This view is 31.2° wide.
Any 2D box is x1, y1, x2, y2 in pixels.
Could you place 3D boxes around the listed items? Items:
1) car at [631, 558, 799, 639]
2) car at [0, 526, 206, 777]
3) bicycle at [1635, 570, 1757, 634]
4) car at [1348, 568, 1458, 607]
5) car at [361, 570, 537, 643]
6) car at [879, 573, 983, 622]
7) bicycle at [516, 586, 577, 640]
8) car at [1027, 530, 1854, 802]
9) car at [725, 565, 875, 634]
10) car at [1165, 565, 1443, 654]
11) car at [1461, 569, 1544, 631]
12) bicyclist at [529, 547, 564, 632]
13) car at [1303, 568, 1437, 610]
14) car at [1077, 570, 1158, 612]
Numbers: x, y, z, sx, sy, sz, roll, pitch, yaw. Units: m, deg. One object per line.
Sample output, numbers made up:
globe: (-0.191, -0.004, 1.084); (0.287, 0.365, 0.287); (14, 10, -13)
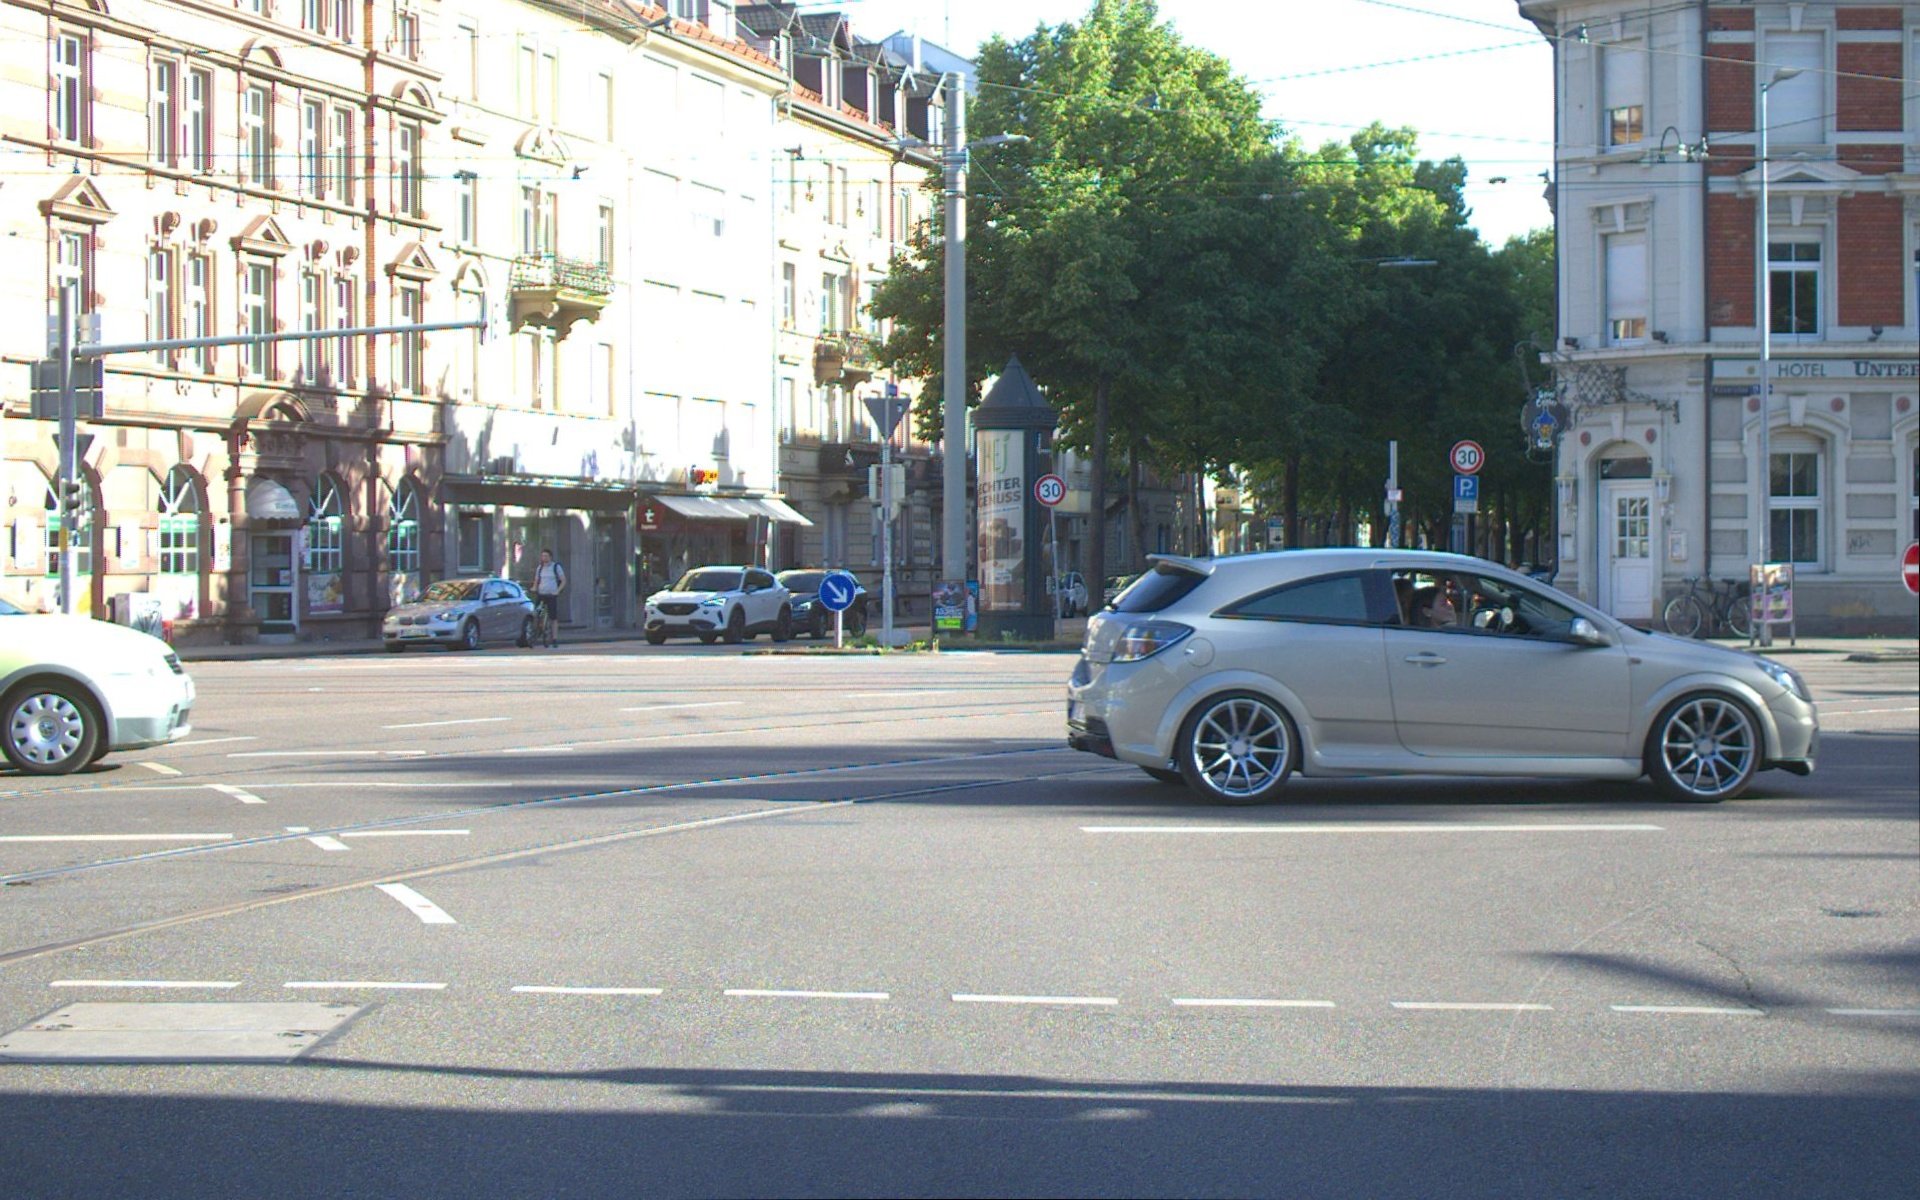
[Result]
car: (-4.761, -0.049, 67.435); (1.995, 1.511, 4.166); (0, 1, 16)
car: (-6.747, 0.296, 21.193); (3.954, 1.493, 1.742); (0, 1, -7)
bicycle: (12.271, 0.028, 57.346); (1.953, 1.050, 0.715); (0, 1, 10)
car: (14.364, -0.424, 111.470); (3.435, 1.235, 1.576); (0, 1, 11)
car: (-9.926, 0.105, 67.048); (1.995, 1.357, 3.816); (0, 1, 16)
car: (-0.842, -0.087, 102.094); (1.995, 1.400, 4.166); (0, 1, 16)
bicycle: (-7.846, 0.235, 65.304); (0.655, 0.997, 1.664); (1, 1, 12)
car: (2.619, 0.354, 19.263); (4.267, 1.436, 1.742); (0, 0, -7)
car: (-3.397, -0.037, 73.648); (1.995, 1.400, 4.166); (0, 1, 16)
car: (5.292, 0.119, 53.143); (4.070, 1.296, 1.718); (1, 1, 43)
car: (13.049, -0.021, 82.533); (1.756, 1.415, 3.998); (0, 1, 12)
bicyclist: (-7.838, -0.200, 65.197); (0.489, 1.596, 0.666); (0, 1, 10)
car: (12.578, -0.343, 105.397); (3.989, 1.284, 1.694); (0, 1, 11)
car: (5.653, -0.333, 122.583); (1.995, 1.400, 4.166); (0, 1, 16)
